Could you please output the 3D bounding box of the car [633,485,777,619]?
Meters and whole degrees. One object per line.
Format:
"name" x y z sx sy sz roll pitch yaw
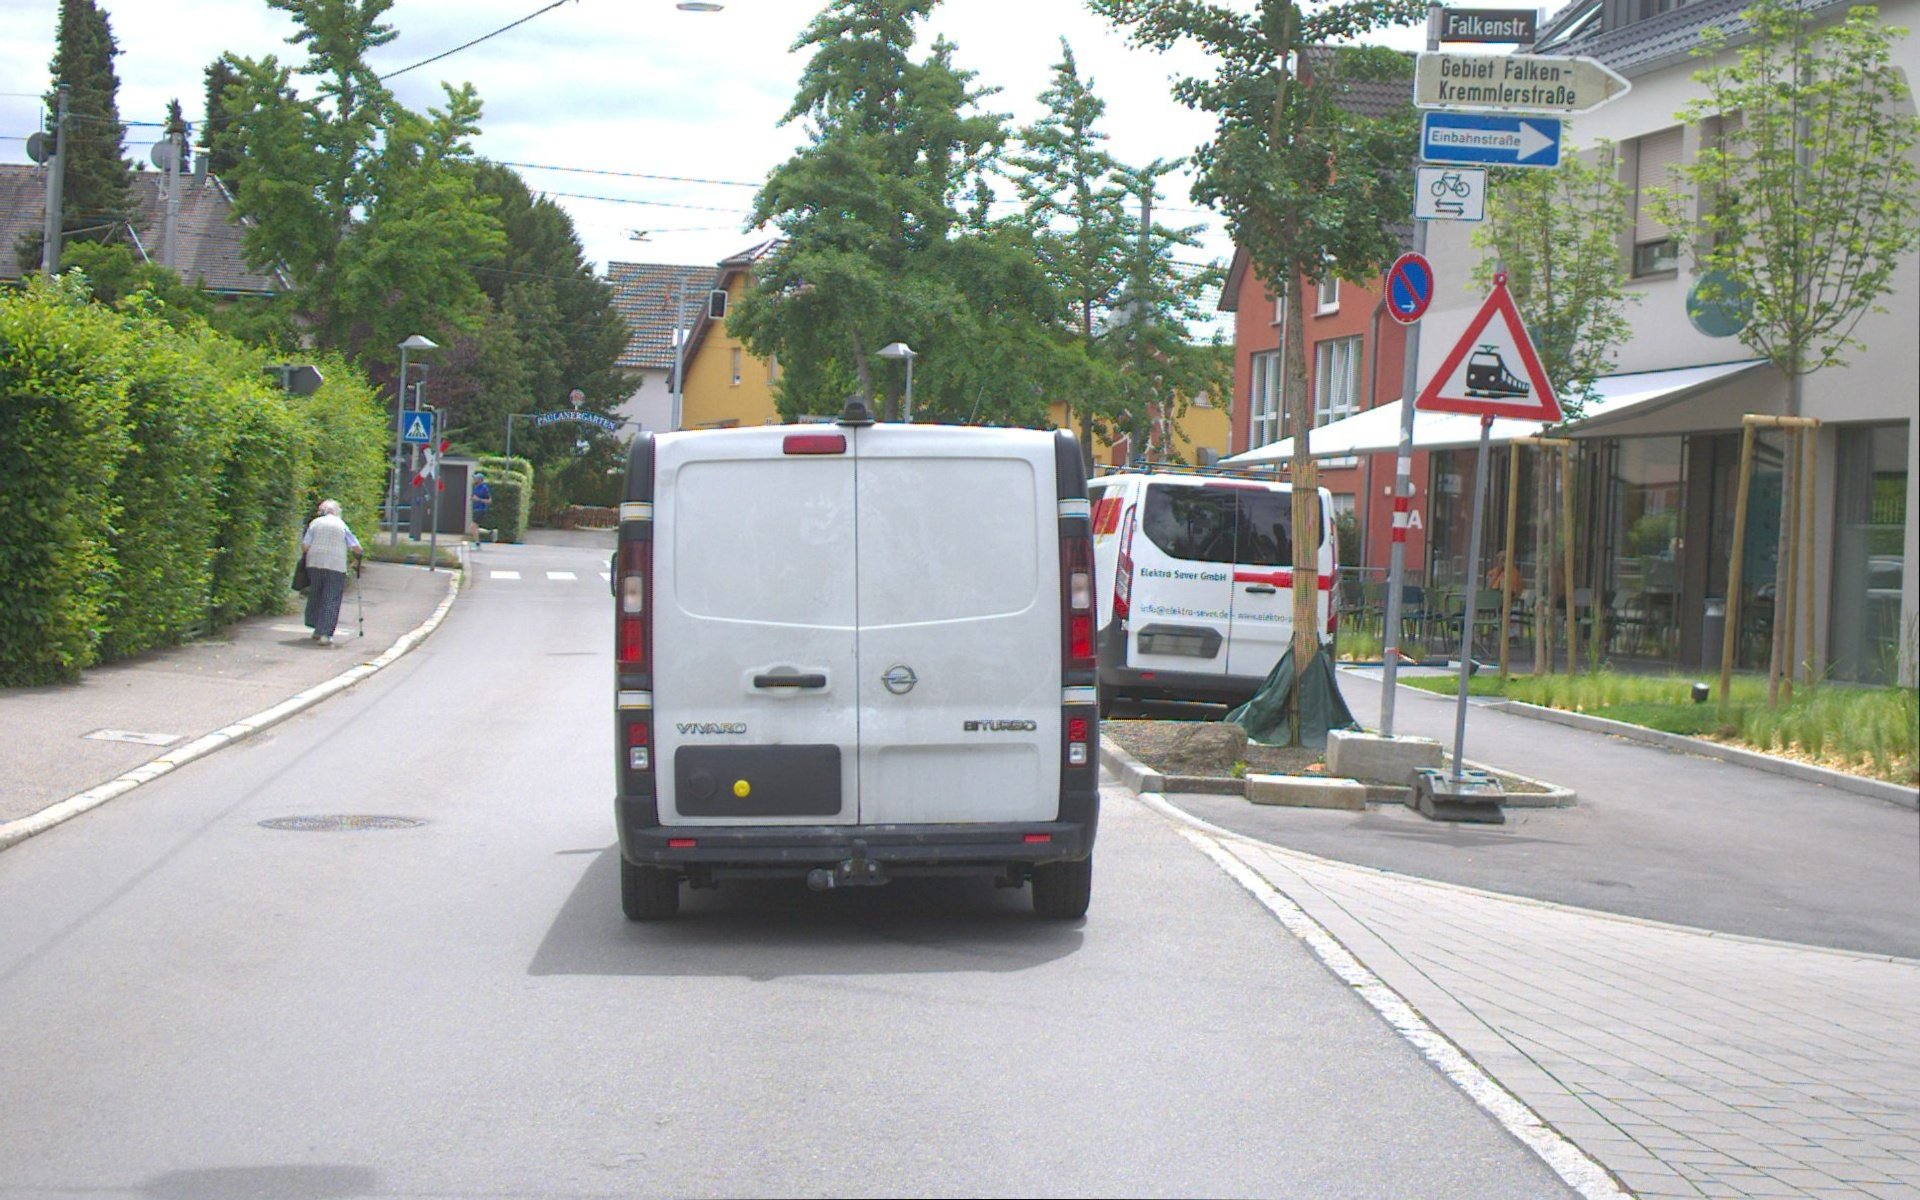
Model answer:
"car" -3.807 -0.719 50.895 1.993 1.842 4.001 2 1 -5

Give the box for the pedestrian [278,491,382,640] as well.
"pedestrian" -6.572 -0.364 35.860 0.876 1.480 0.455 4 0 -25

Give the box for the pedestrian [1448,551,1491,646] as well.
"pedestrian" 6.457 -0.017 43.595 0.421 1.178 0.324 2 1 -7

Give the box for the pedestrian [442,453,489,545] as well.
"pedestrian" -11.151 -2.279 77.537 0.832 2.007 0.680 5 0 -15

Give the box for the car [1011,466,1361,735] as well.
"car" 1.767 -0.035 28.657 1.958 1.909 4.903 4 1 -6

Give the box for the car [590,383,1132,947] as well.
"car" -0.535 0.226 14.754 1.915 1.996 4.438 2 0 -5

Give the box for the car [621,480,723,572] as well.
"car" -5.926 -1.514 70.637 1.993 1.776 4.001 1 1 -5
